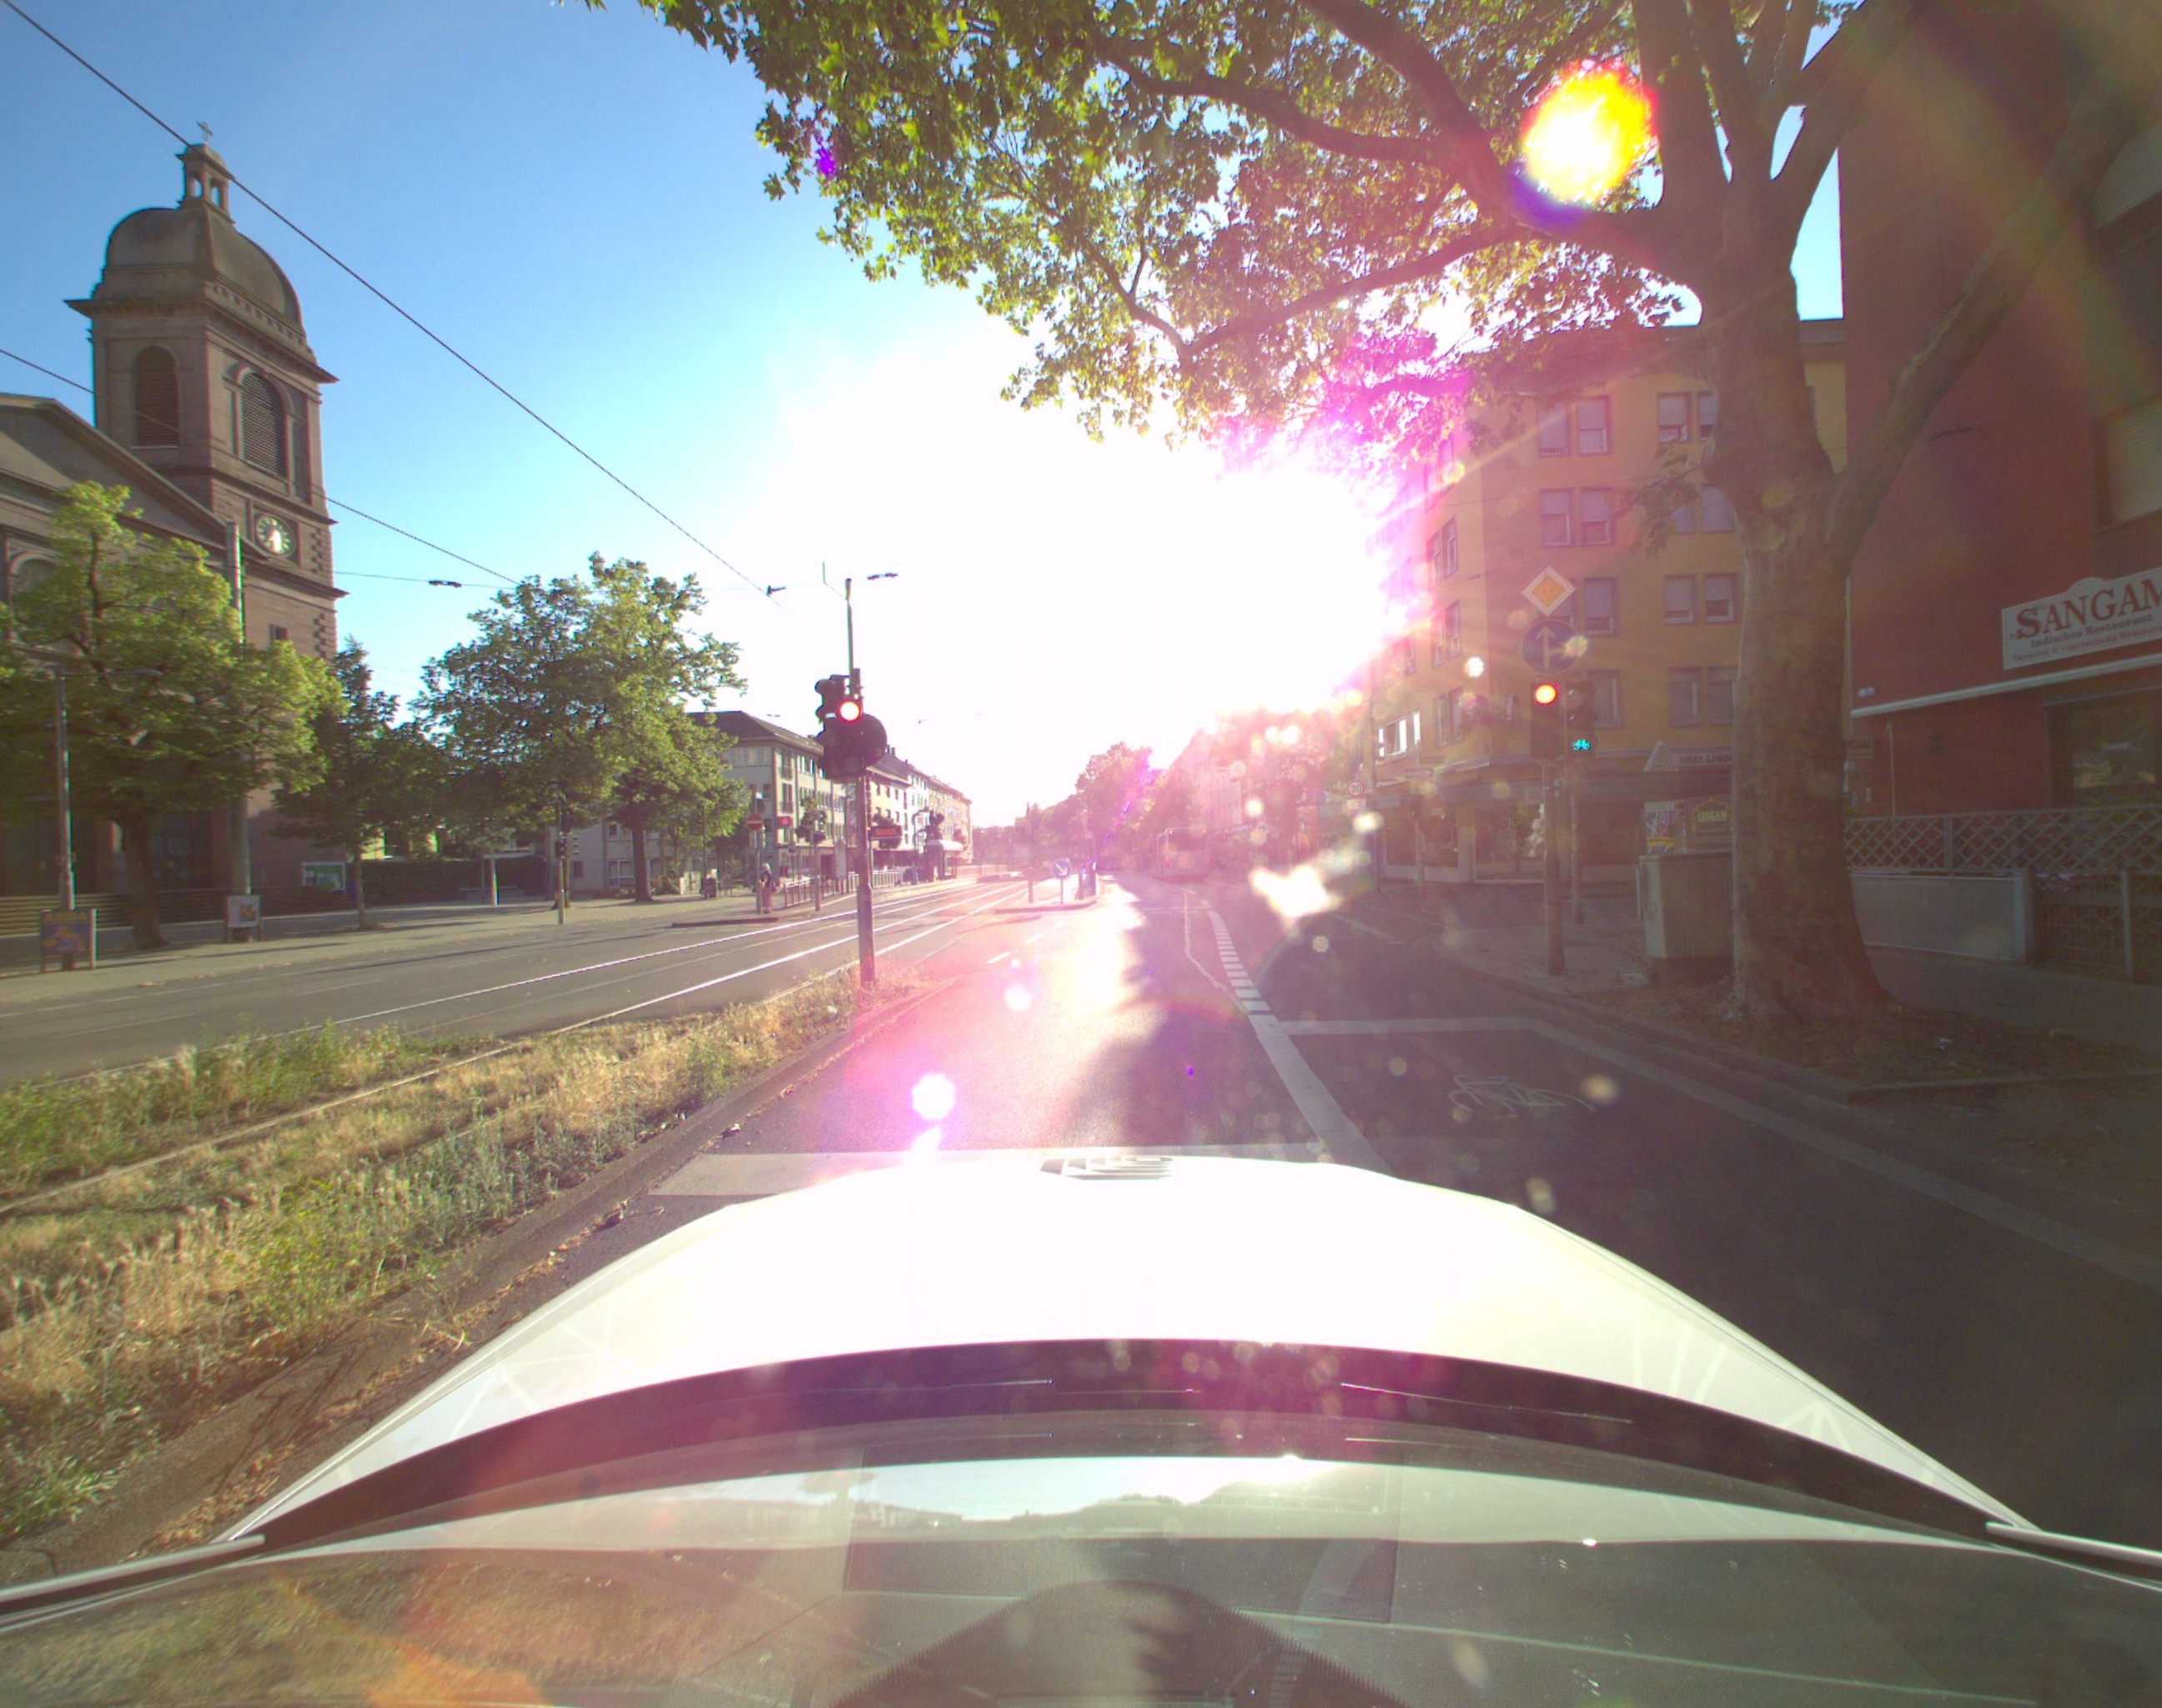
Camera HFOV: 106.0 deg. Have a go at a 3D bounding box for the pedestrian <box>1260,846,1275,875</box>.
[{"bbox_3d":[11.427,0.411,49.897,0.721,1.723,0.766,-2,-1,1],"label":"pedestrian"}]

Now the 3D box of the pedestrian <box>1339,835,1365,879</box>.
[{"bbox_3d":[11.340,0.125,34.106,0.741,1.780,0.895,-3,-1,1],"label":"pedestrian"}]

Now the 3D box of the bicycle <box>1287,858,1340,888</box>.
[{"bbox_3d":[8.875,0.708,31.124,1.793,1.008,0.540,-4,-1,-3],"label":"bicycle"}]

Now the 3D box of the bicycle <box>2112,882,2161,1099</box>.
[{"bbox_3d":[5.664,0.751,3.636,0.613,1.111,1.812,-3,1,28],"label":"bicycle"}]

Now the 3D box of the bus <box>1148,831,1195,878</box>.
[{"bbox_3d":[6.460,0.080,59.427,2.686,3.118,9.074,-1,0,2],"label":"bus"}]

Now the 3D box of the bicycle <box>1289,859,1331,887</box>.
[{"bbox_3d":[8.936,0.729,31.791,1.479,1.008,0.454,-2,0,-2],"label":"bicycle"}]

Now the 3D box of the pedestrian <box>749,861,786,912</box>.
[{"bbox_3d":[-11.056,1.135,28.725,0.915,1.760,0.833,-2,-1,2],"label":"pedestrian"}]

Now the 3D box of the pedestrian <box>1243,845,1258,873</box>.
[{"bbox_3d":[10.809,0.329,52.009,0.721,1.779,0.766,-2,-1,1],"label":"pedestrian"}]

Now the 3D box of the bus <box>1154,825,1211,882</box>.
[{"bbox_3d":[6.091,0.023,50.224,2.686,3.118,9.386,-1,0,2],"label":"bus"}]

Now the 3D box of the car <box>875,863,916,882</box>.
[{"bbox_3d":[-17.854,1.782,78.509,1.748,1.679,3.533,-2,0,37],"label":"car"}]

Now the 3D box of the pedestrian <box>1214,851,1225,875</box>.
[{"bbox_3d":[9.257,0.601,54.387,0.607,1.578,0.852,-2,0,6],"label":"pedestrian"}]

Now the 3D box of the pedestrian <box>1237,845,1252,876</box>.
[{"bbox_3d":[9.726,0.412,48.495,0.721,1.807,0.766,-2,-1,1],"label":"pedestrian"}]

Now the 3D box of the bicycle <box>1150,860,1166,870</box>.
[{"bbox_3d":[9.537,1.382,100.897,1.879,1.077,0.755,-6,-1,4],"label":"bicycle"}]
